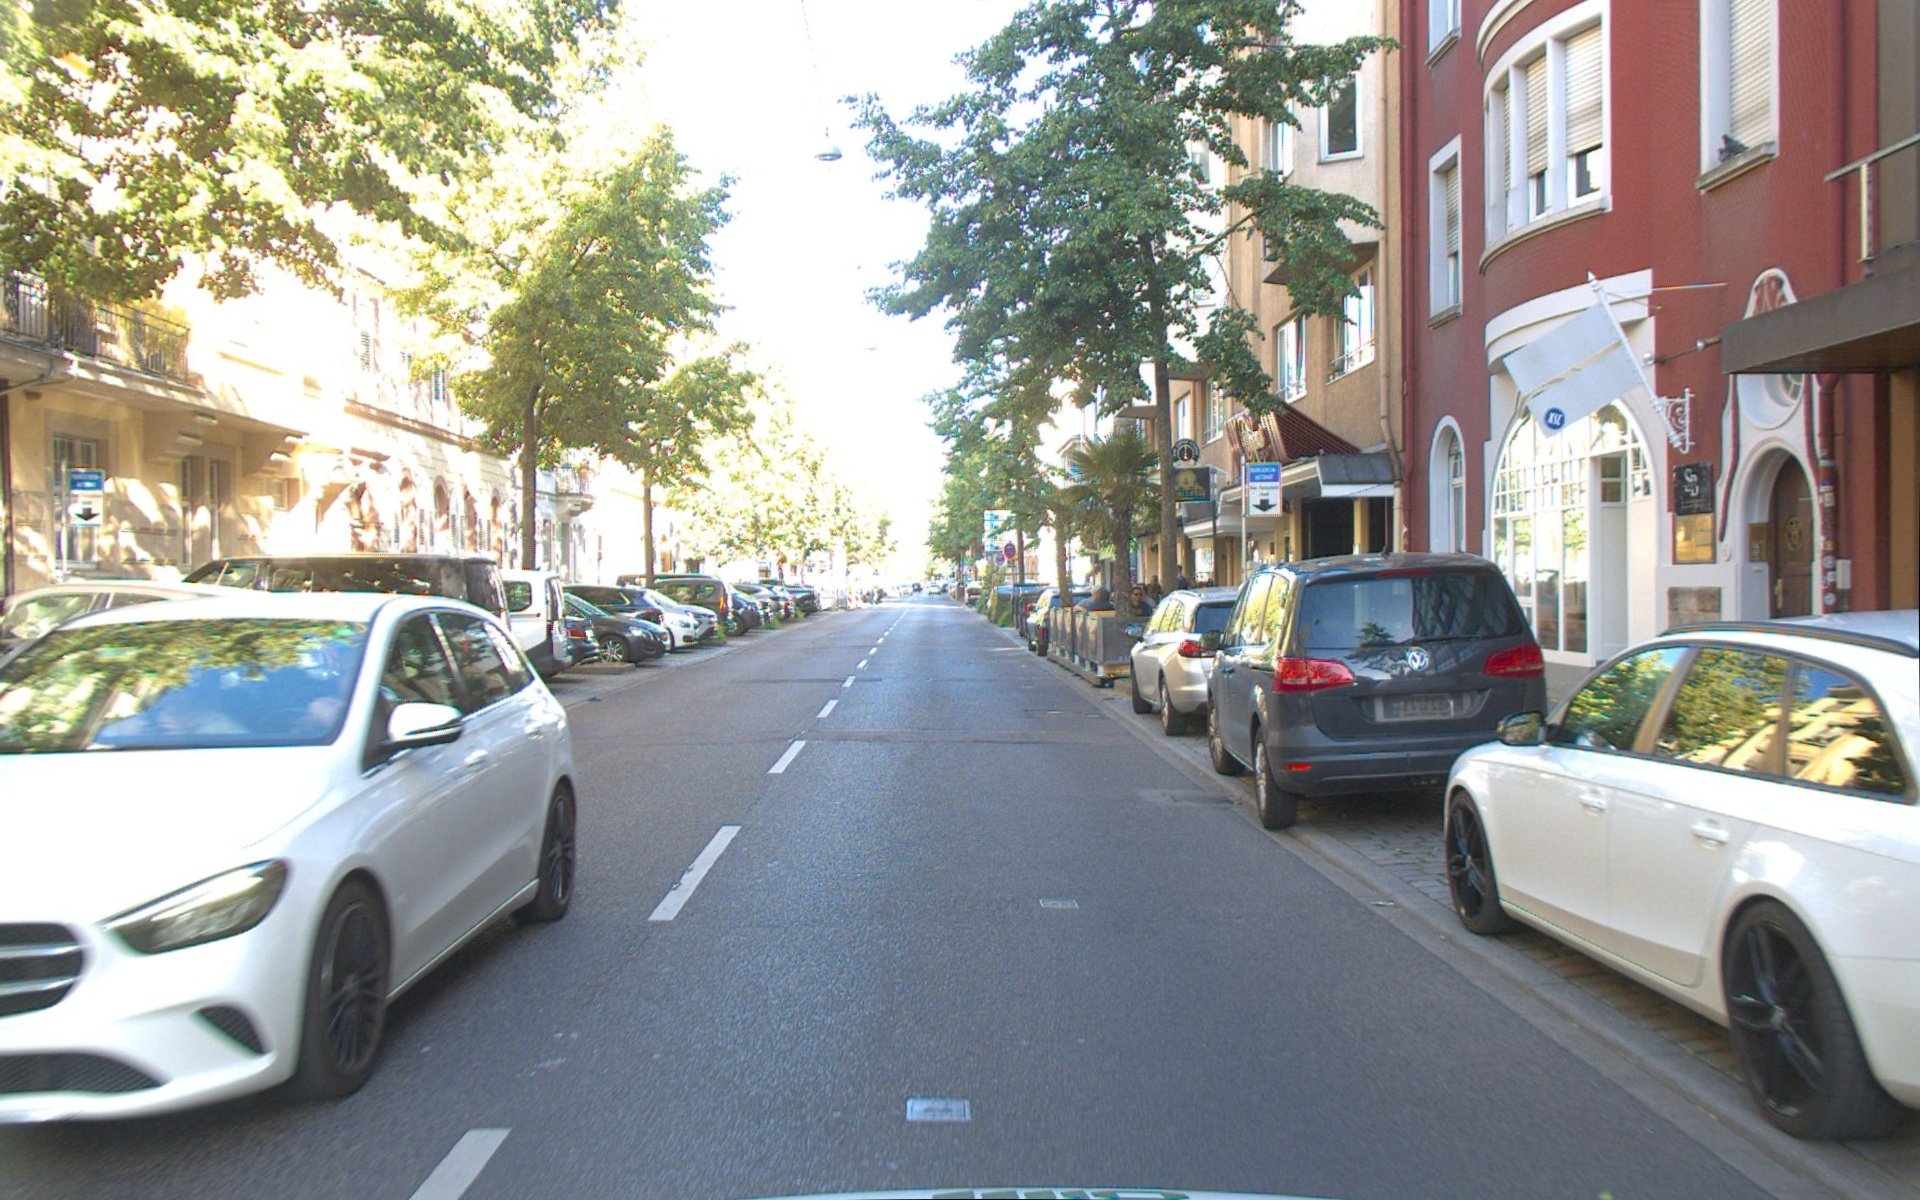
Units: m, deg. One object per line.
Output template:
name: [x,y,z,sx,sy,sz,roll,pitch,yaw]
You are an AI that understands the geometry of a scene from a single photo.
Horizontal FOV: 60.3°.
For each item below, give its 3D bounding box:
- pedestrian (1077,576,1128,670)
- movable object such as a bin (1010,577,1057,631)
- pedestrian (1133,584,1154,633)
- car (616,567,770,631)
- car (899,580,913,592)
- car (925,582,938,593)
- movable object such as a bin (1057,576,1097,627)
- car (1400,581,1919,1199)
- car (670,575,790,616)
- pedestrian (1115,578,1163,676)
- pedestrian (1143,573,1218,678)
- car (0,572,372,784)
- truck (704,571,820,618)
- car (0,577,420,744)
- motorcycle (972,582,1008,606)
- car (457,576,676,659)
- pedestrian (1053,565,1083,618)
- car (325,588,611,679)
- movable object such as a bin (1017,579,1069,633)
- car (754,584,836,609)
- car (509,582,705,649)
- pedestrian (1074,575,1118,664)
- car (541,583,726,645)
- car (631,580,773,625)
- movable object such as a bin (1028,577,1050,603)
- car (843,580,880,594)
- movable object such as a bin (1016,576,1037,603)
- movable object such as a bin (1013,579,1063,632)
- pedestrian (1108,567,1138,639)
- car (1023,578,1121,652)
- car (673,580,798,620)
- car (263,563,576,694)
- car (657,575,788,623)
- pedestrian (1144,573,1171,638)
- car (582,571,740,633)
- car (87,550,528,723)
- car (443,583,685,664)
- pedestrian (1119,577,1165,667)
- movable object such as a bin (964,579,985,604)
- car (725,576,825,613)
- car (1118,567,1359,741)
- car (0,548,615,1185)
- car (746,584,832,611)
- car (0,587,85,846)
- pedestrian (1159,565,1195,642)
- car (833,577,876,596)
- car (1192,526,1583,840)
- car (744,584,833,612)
pedestrian: [2.434,0.383,28.200,0.733,1.563,0.808,-1,0,13]
movable object such as a bin: [2.179,0.103,49.132,1.303,1.569,1.146,-1,1,-1]
pedestrian: [4.468,0.204,40.269,0.434,1.183,0.501,-1,0,0]
car: [-8.432,-0.046,52.495,4.584,1.984,1.917,0,0,0]
car: [-6.965,-1.804,212.450,1.766,1.460,4.408,-3,1,-2]
car: [-3.794,-1.667,220.682,1.756,1.436,3.999,-1,1,-1]
movable object such as a bin: [3.460,0.037,49.166,1.055,1.456,1.295,-1,1,-1]
car: [3.194,0.691,6.049,1.785,1.427,4.841,-3,1,-1]
car: [-9.286,-0.186,66.965,4.584,1.599,1.808,0,0,0]
pedestrian: [2.926,0.430,27.094,0.678,1.563,0.776,-1,0,0]
pedestrian: [3.357,0.382,25.260,1.034,1.563,0.892,-1,0,3]
car: [-7.711,0.642,14.766,4.253,1.764,1.915,0,0,-3]
truck: [-8.863,-0.247,74.350,4.982,1.972,1.999,-1,1,-2]
car: [-8.020,0.583,17.134,4.253,1.623,1.915,0,0,-3]
motorcycle: [1.753,-0.370,96.992,1.943,1.353,0.908,-1,1,-14]
car: [-8.410,0.354,35.632,4.251,1.739,1.916,0,0,-2]
pedestrian: [4.086,-0.328,62.421,0.906,1.969,0.761,0,0,24]
car: [-8.178,0.536,27.802,4.253,1.464,1.915,0,0,-3]
movable object such as a bin: [2.339,0.152,46.803,1.370,1.479,1.146,-1,1,-1]
car: [-9.482,-0.187,95.290,4.588,1.437,1.806,0,0,-4]
car: [-8.497,0.359,40.136,4.376,1.568,1.916,0,0,-2]
pedestrian: [2.413,0.339,29.498,0.637,1.563,0.979,-1,0,-3]
car: [-8.429,0.337,42.927,4.373,1.568,1.917,0,0,2]
car: [-8.675,0.070,55.846,4.551,1.484,1.683,0,0,-2]
movable object such as a bin: [4.919,-0.630,103.466,1.245,1.557,1.176,-1,0,-3]
car: [-10.734,-1.426,180.752,3.907,1.526,1.999,-1,1,-2]
movable object such as a bin: [4.200,-0.686,104.817,1.181,1.656,1.497,-1,0,-3]
movable object such as a bin: [2.249,0.151,47.970,1.370,1.479,1.146,-1,1,-1]
pedestrian: [3.972,0.065,40.373,0.604,1.725,0.762,-1,0,-2]
car: [2.513,0.292,38.252,1.785,1.497,4.911,-3,1,-1]
car: [-8.657,-0.011,63.988,4.584,1.546,1.808,0,0,0]
car: [-8.030,0.400,24.953,4.262,1.866,1.911,0,0,-11]
car: [-8.754,-0.059,61.223,4.584,1.742,1.808,0,0,0]
pedestrian: [5.130,0.142,42.907,0.604,1.670,0.762,-1,0,1]
car: [-8.897,0.057,49.508,4.374,1.803,1.917,0,0,0]
car: [-7.662,0.407,19.723,4.479,1.960,1.930,0,0,1]
car: [-7.868,0.449,33.158,4.374,1.568,1.917,0,0,1]
pedestrian: [3.245,0.384,29.491,0.696,1.563,0.770,-1,0,13]
movable object such as a bin: [0.949,-0.564,107.309,1.118,1.589,1.460,-1,1,7]
car: [-8.891,-0.269,79.759,4.584,1.723,1.808,0,0,0]
car: [2.998,0.508,18.838,1.785,1.624,4.841,-3,1,-1]
car: [-2.686,0.639,6.248,1.871,1.571,4.353,0,0,0]
car: [-9.315,-0.148,90.278,4.588,1.490,1.806,0,0,-4]
car: [-7.967,0.708,10.090,4.248,1.571,1.917,0,0,3]
pedestrian: [4.927,0.068,37.494,0.498,1.725,0.622,-1,0,-38]
car: [-10.073,-1.275,157.997,3.903,1.724,2.001,-1,1,3]
car: [2.929,0.472,12.472,1.784,1.808,4.932,-3,1,2]
car: [-9.043,-0.106,87.571,4.588,1.490,1.806,0,0,-4]
